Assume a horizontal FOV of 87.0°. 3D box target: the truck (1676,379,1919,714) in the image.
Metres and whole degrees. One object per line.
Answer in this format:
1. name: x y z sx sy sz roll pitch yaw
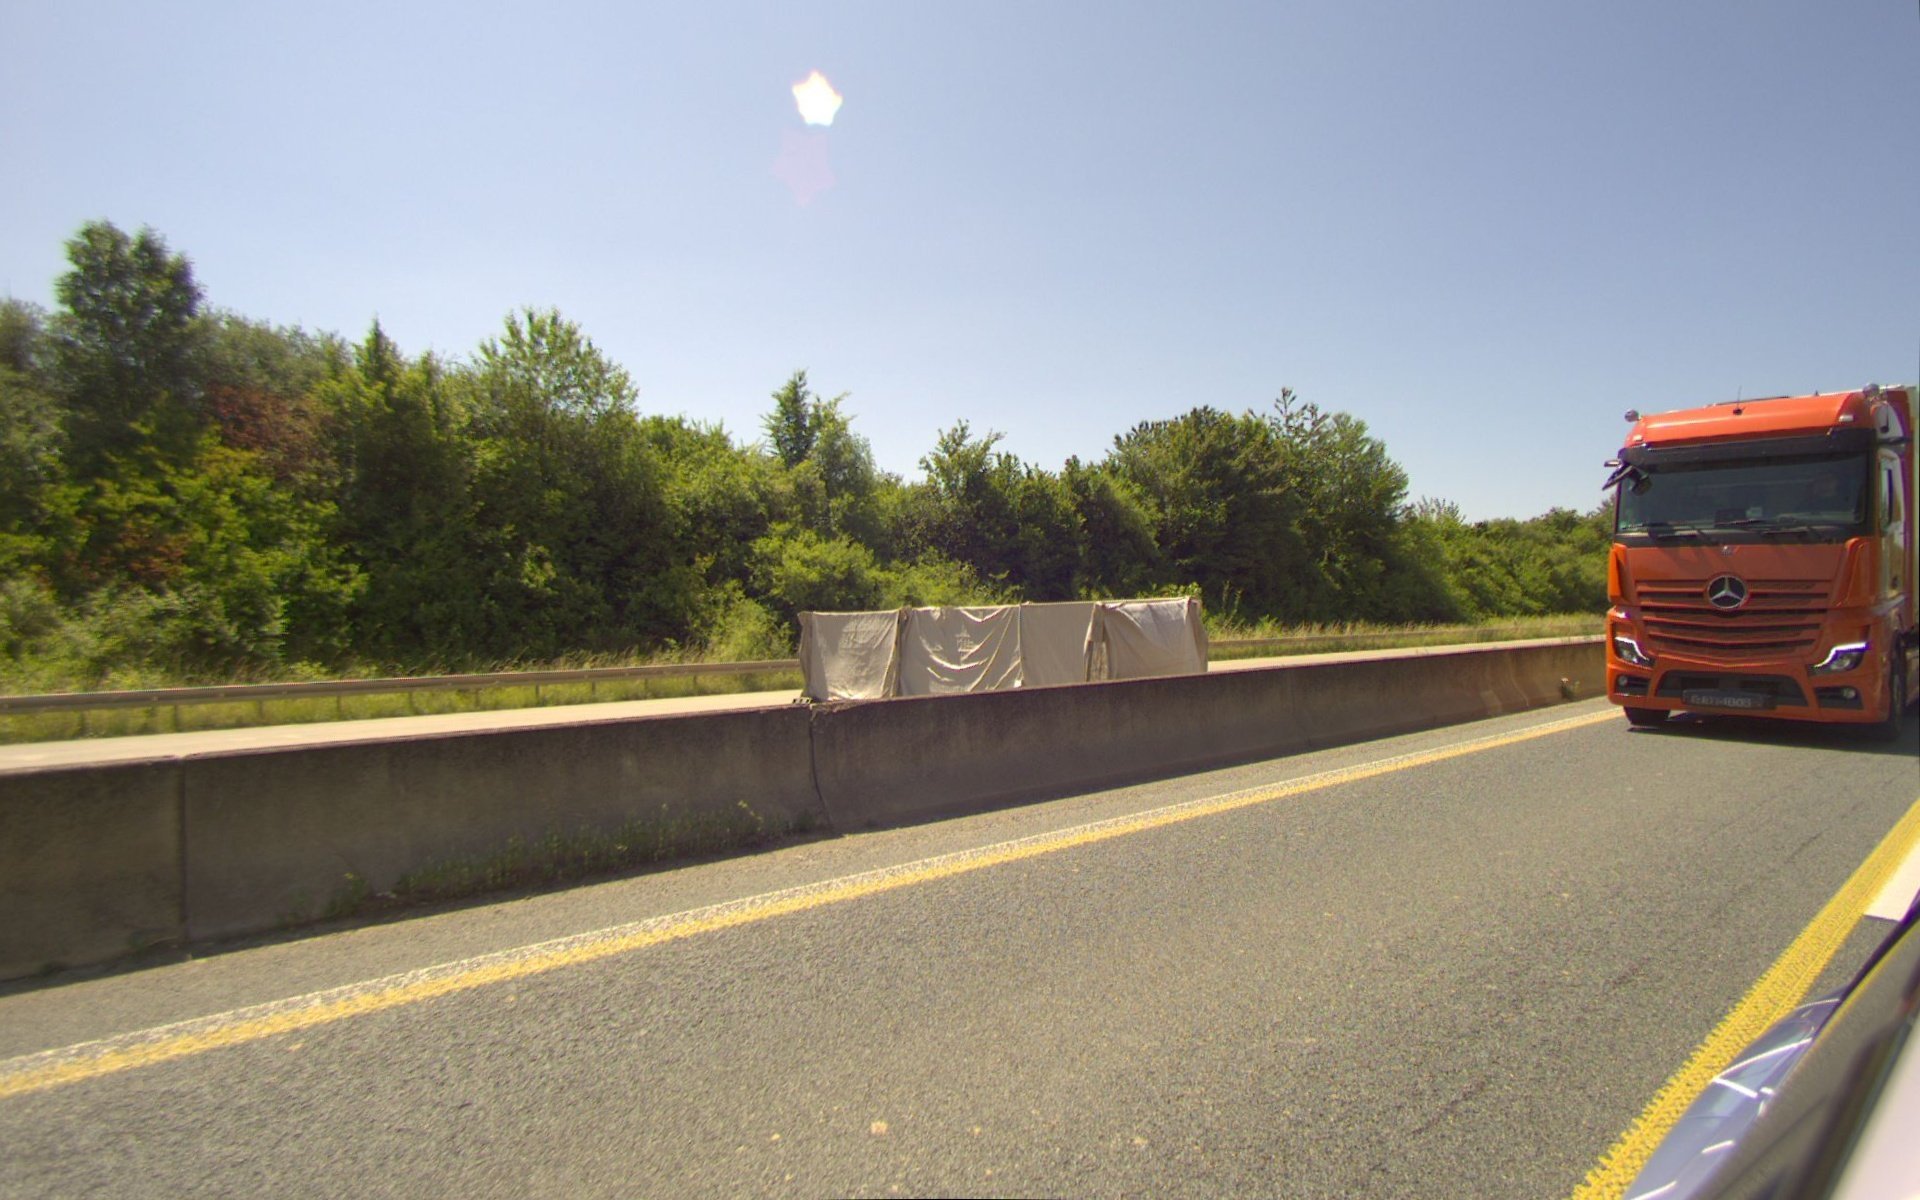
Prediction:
1. truck: 15.776 -0.732 17.436 12.991 4.061 2.686 -1 0 -42

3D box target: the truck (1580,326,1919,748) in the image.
1. truck: 10.625 -0.644 12.923 6.607 4.061 2.687 -1 0 -41
